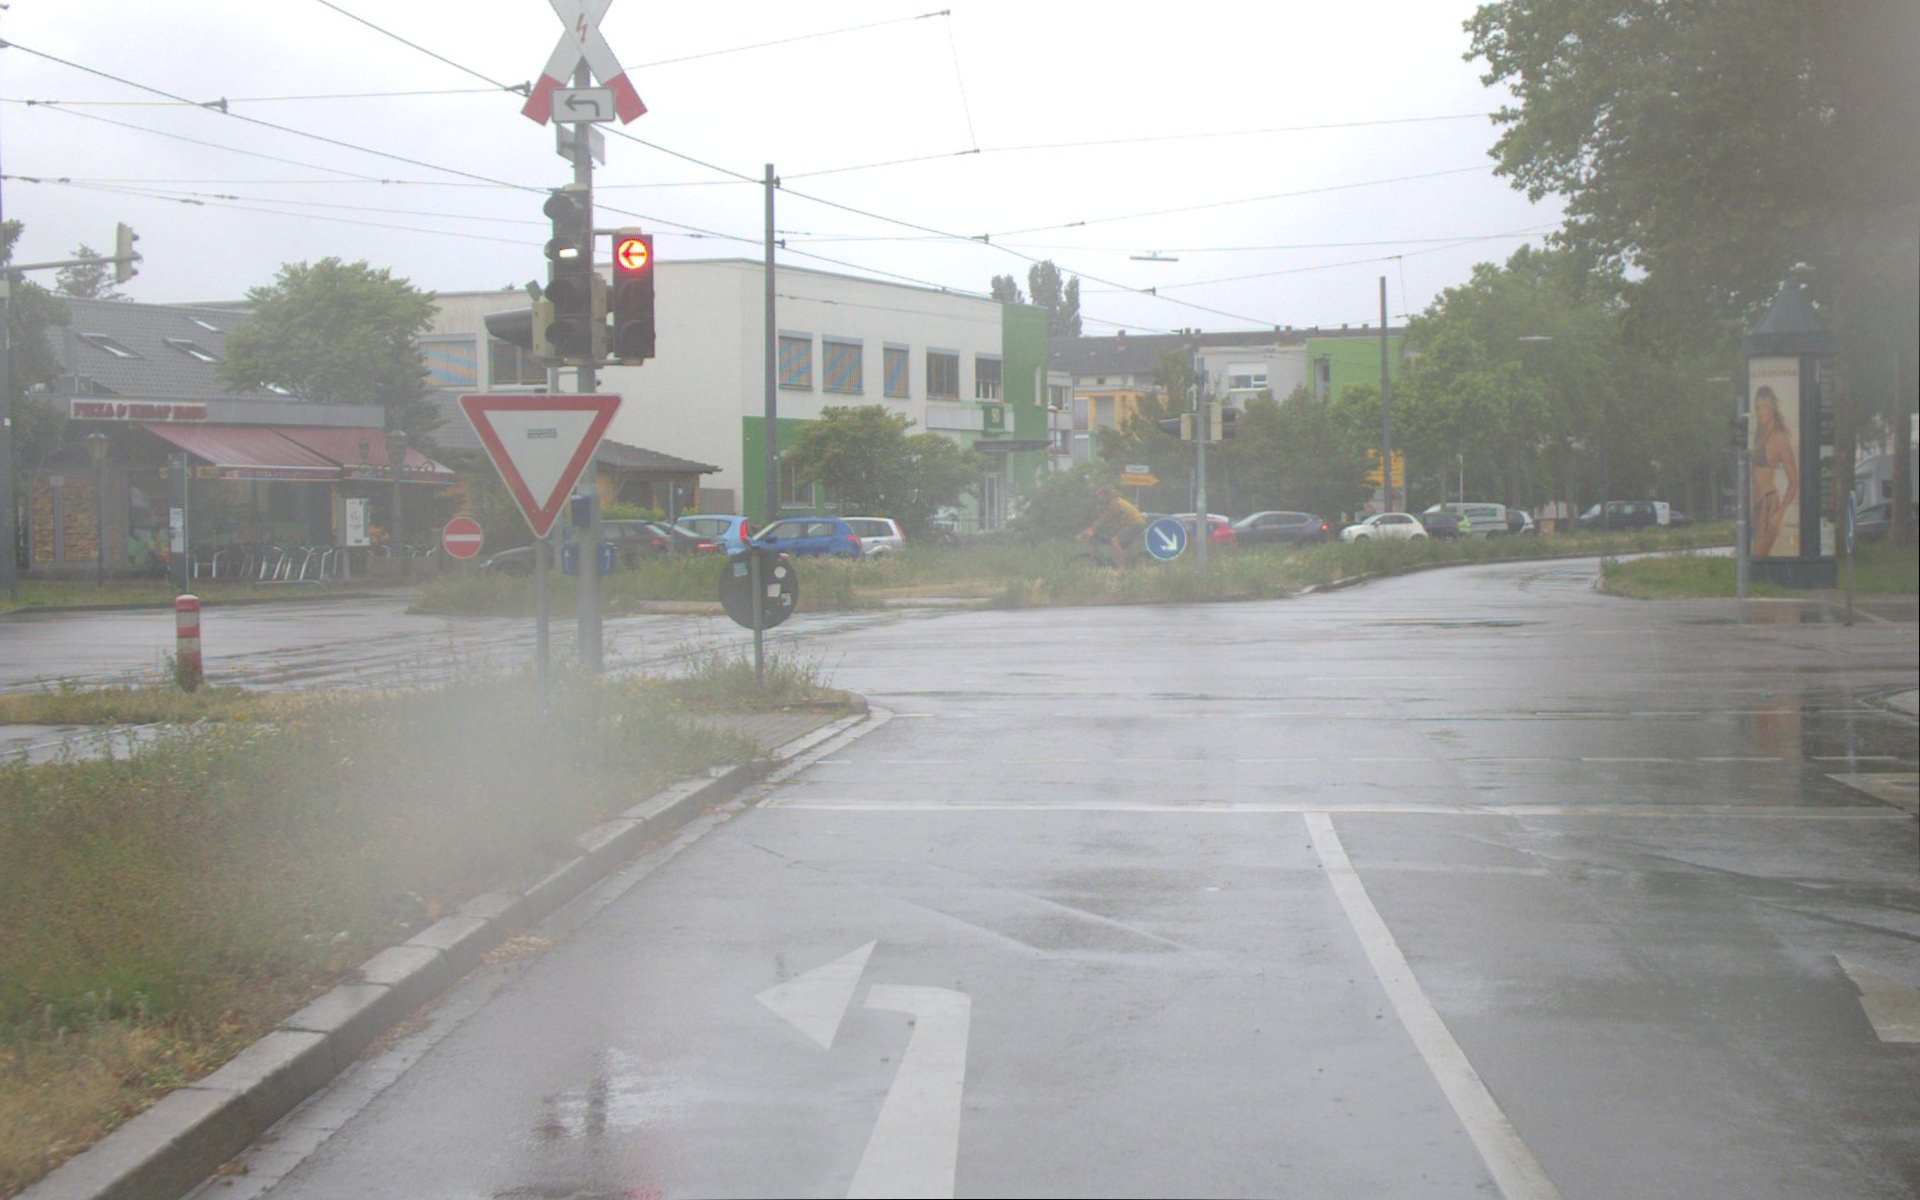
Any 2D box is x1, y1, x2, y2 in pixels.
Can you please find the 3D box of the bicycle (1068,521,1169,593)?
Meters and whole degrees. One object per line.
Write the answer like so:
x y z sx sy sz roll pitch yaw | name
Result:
2.488 -0.674 54.099 1.561 1.098 0.500 -1 1 1 | bicycle

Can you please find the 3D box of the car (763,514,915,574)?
-3.065 -1.421 86.753 3.749 1.437 1.763 -1 1 -4 | car

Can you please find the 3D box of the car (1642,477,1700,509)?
46.135 -6.933 223.180 3.447 2.007 1.806 -1 1 19 | car

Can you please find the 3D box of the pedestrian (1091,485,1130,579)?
2.362 -1.068 54.096 0.576 1.470 0.500 -1 1 1 | pedestrian

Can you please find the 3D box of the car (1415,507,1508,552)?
22.876 -3.227 156.808 4.136 1.969 1.673 -1 1 9 | car

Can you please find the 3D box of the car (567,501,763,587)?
-6.737 -1.286 78.672 4.136 1.853 1.673 -1 1 9 | car

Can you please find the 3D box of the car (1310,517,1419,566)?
16.358 -2.369 139.230 4.134 1.853 1.674 -1 1 -2 | car

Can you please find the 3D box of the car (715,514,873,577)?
-4.047 -1.326 83.509 3.749 1.437 1.763 -1 1 -4 | car

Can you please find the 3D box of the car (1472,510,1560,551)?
26.836 -3.341 165.866 4.136 1.853 1.673 -1 1 9 | car

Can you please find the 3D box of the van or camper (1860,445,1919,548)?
26.820 -2.734 91.664 5.226 2.688 2.241 2 2 21 | van or camper

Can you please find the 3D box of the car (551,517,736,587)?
-6.911 -1.065 75.222 3.751 1.437 1.762 -1 1 5 | car
